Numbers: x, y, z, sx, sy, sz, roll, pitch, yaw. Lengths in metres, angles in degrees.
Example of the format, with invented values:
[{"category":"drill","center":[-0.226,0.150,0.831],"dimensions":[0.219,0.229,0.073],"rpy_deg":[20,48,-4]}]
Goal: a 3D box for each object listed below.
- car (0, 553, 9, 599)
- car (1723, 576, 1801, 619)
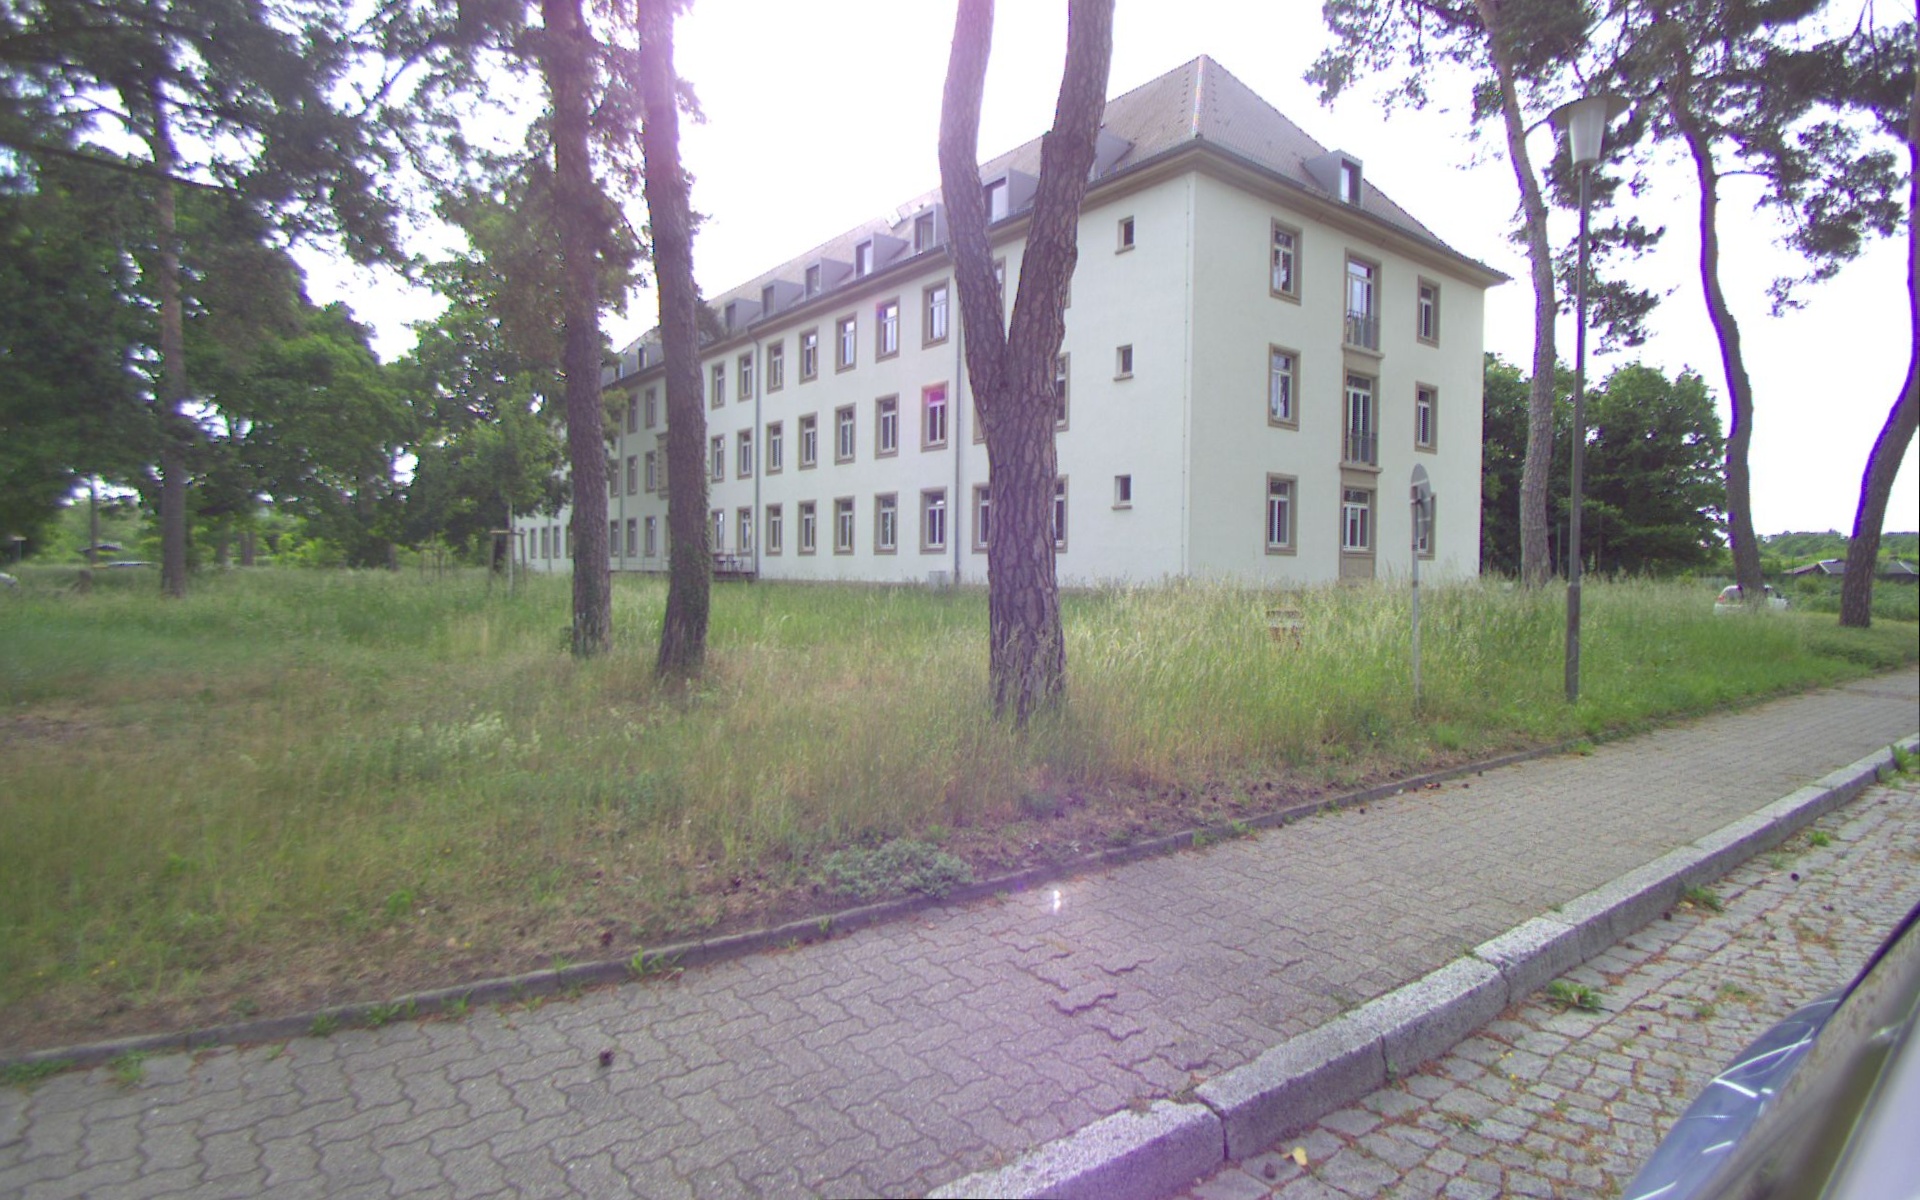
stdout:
[{"category":"car","center":[-36.173,-0.850,35.120],"dimensions":[4.434,1.638,1.999],"rpy_deg":[-1,2,-38]},{"category":"car","center":[30.762,-0.145,38.804],"dimensions":[3.219,1.451,1.641],"rpy_deg":[-3,4,-38]}]
